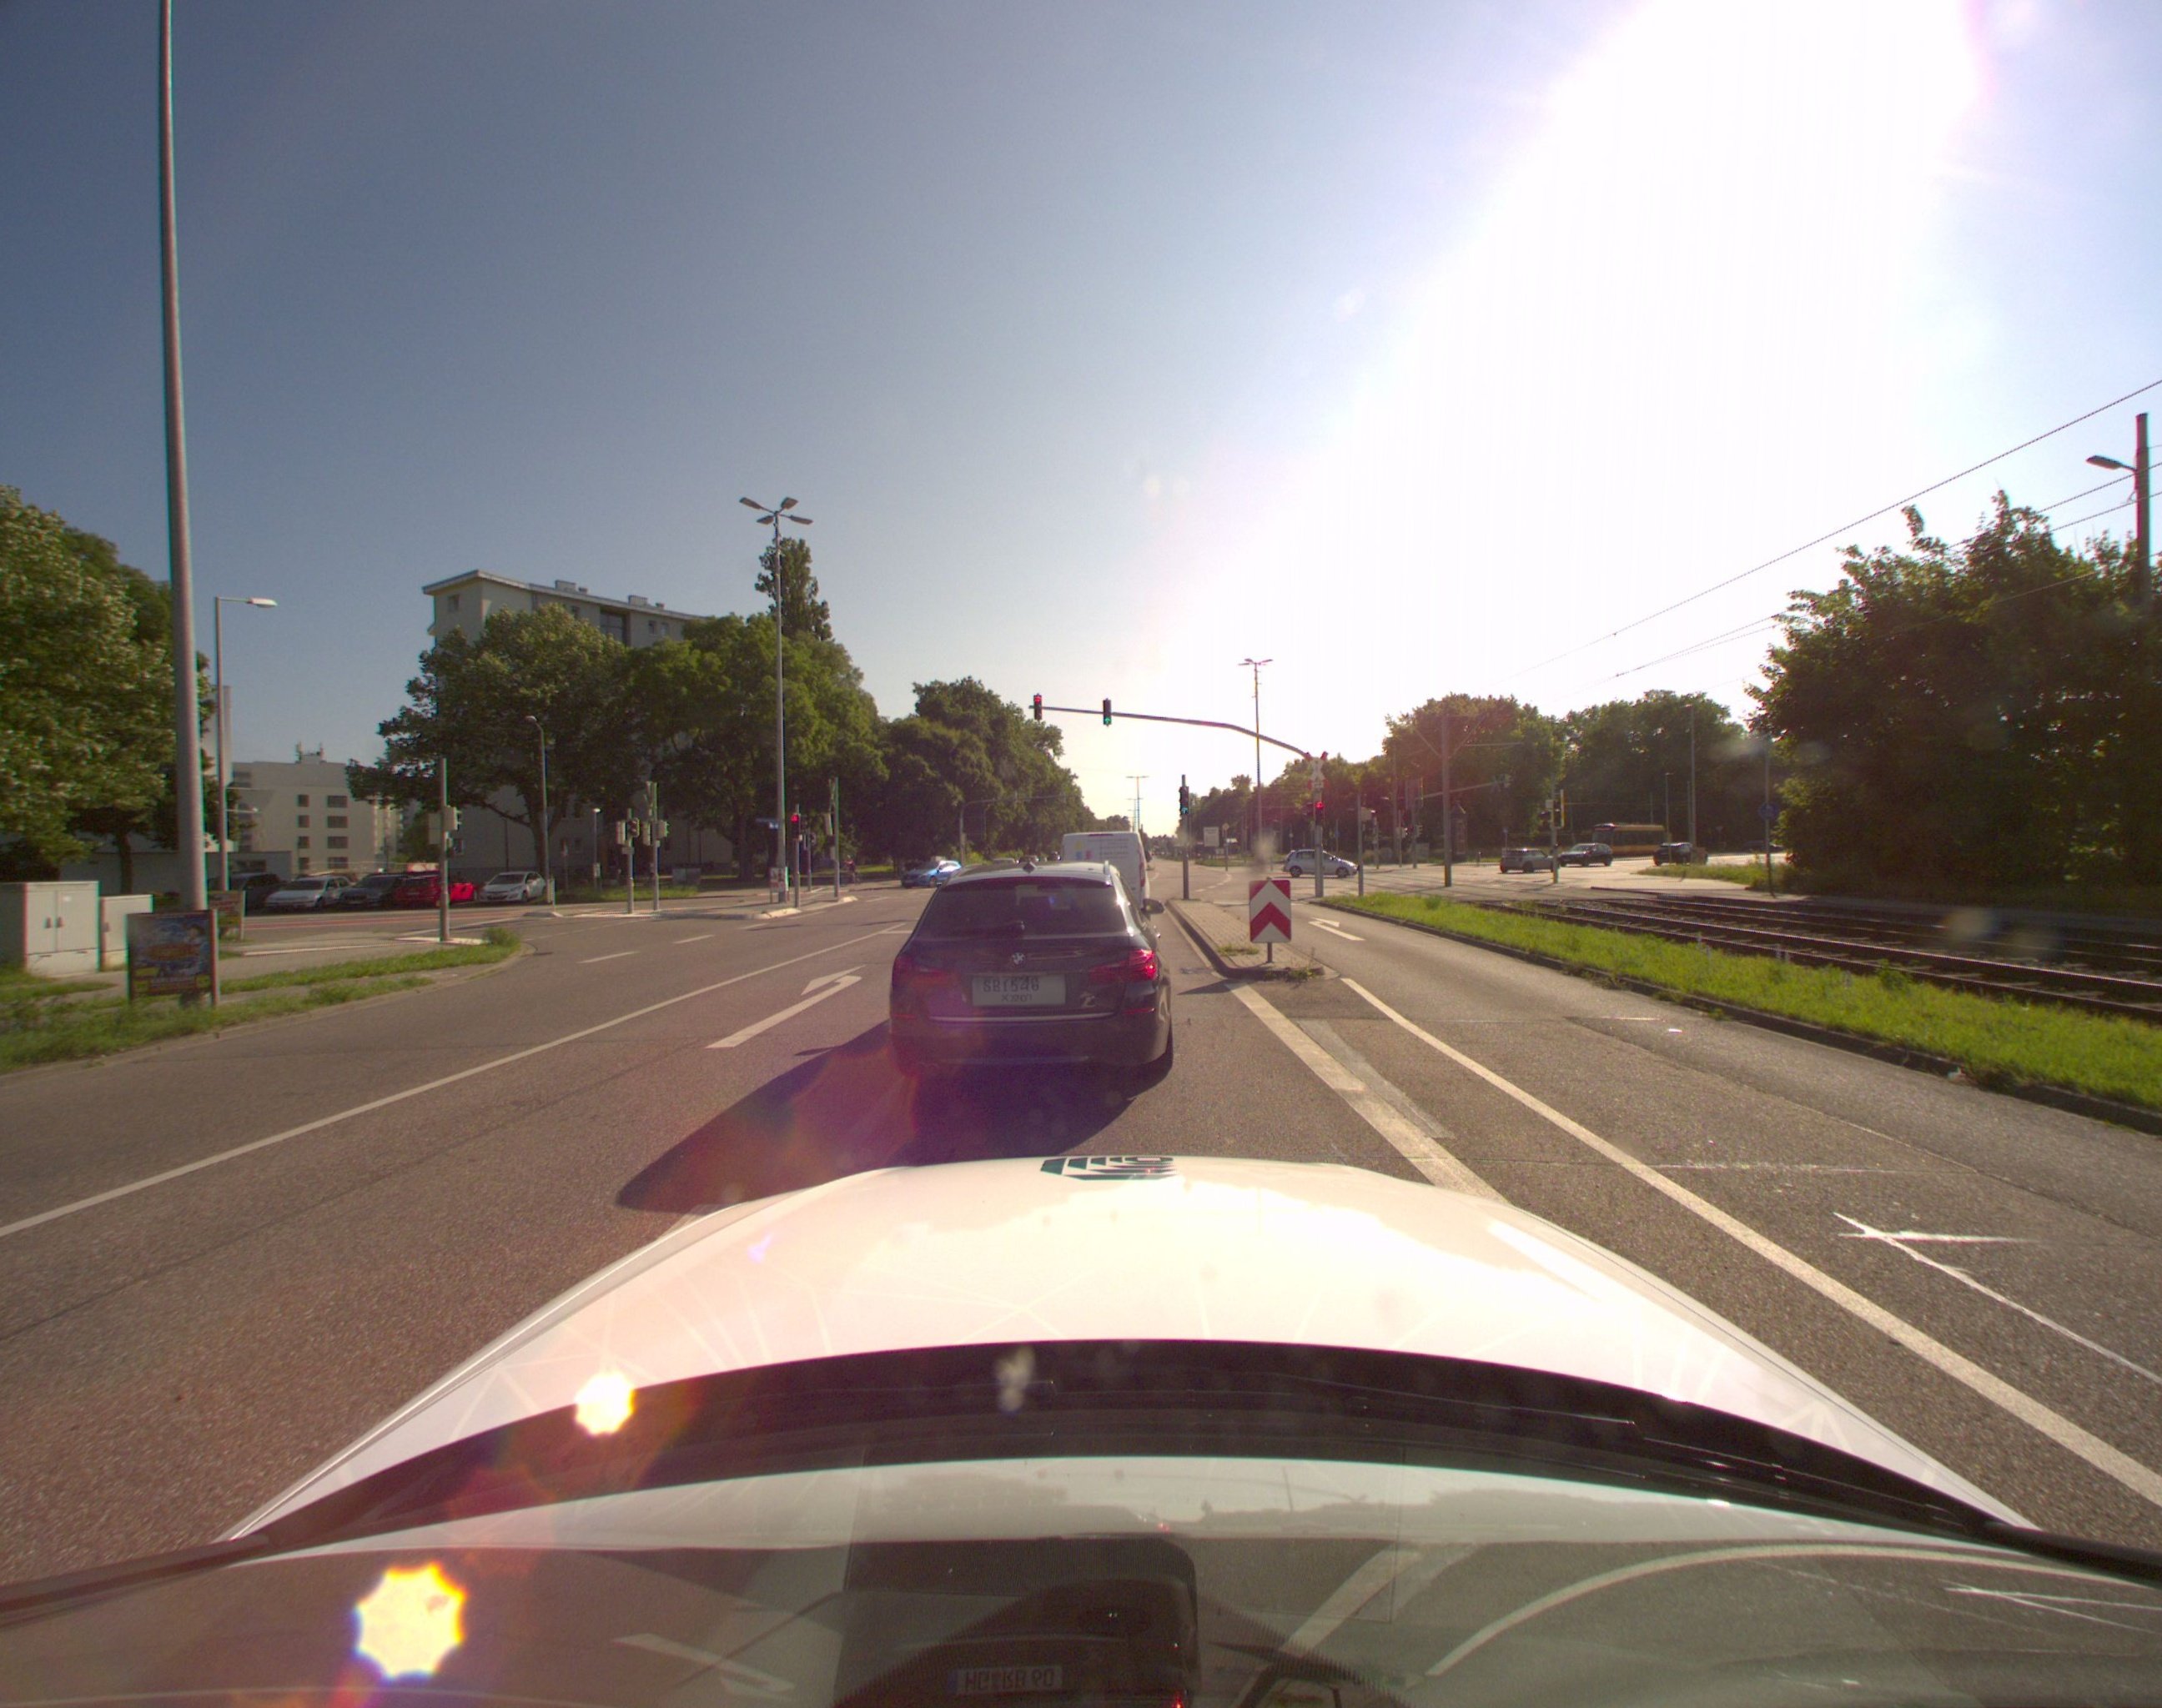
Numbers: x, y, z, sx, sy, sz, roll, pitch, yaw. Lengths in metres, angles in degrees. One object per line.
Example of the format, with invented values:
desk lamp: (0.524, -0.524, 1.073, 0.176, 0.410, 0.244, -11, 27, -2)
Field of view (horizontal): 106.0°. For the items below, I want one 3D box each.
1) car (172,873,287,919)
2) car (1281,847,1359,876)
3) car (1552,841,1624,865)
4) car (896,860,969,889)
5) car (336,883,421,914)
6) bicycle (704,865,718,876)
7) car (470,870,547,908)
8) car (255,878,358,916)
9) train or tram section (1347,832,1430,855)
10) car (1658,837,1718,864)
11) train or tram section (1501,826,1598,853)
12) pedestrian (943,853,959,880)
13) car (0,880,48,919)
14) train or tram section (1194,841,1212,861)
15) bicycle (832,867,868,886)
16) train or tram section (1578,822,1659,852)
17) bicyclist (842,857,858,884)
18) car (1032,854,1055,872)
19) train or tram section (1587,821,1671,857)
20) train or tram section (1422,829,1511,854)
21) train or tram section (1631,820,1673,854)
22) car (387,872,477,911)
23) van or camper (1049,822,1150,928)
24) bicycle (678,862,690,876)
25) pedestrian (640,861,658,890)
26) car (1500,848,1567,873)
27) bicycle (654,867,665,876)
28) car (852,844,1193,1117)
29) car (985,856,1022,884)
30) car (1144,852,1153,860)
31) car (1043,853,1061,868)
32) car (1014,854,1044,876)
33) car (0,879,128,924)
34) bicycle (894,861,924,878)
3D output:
car: (-38.058, 1.824, 36.539, 1.783, 1.811, 3.977, -1, 0, -16)
car: (13.769, 0.410, 46.968, 4.157, 1.562, 1.864, -1, 0, 17)
car: (35.960, -0.075, 57.755, 4.871, 1.562, 2.027, -1, 0, -26)
car: (-8.057, 1.108, 44.613, 1.763, 1.414, 4.269, -1, 0, 26)
car: (-32.772, 2.050, 38.106, 1.463, 1.193, 3.767, -1, 0, -15)
bicycle: (-31.021, 1.361, 68.248, 0.673, 0.919, 2.382, -1, 0, -33)
car: (-27.911, 1.678, 39.845, 1.783, 1.439, 3.980, -1, 3, -15)
car: (-35.413, 1.930, 37.373, 1.783, 1.521, 3.977, -1, 0, -16)
train or tram section: (50.410, -1.675, 133.847, 12.279, 3.579, 3.073, -1, 0, 33)
car: (42.668, -0.256, 57.187, 4.635, 1.722, 1.634, -2, 2, -29)
train or tram section: (67.353, -1.985, 117.562, 3.064, 3.579, 12.108, -1, 0, -31)
pedestrian: (-8.790, 0.826, 54.943, 0.811, 1.752, 0.933, -1, 0, 7)
car: (-46.078, 2.016, 33.688, 1.785, 1.476, 4.686, -1, 3, -19)
train or tram section: (22.848, -0.512, 152.883, 2.782, 3.618, 12.976, 0, 0, 6)
bicycle: (-13.500, 1.303, 47.675, 0.613, 1.040, 2.085, -1, 0, 36)
train or tram section: (69.674, -2.071, 106.055, 3.031, 3.579, 12.241, -1, 0, 3)
bicyclist: (-13.518, 0.955, 47.675, 0.601, 1.560, 0.607, -1, 0, 36)
car: (-3.445, 0.815, 75.608, 1.882, 1.474, 4.099, -2, 0, 0)
train or tram section: (57.933, -1.571, 85.889, 11.898, 3.579, 3.022, -1, 0, -34)
train or tram section: (60.019, -1.848, 126.951, 12.072, 3.579, 3.073, -1, 0, 38)
train or tram section: (66.115, -1.921, 94.576, 3.015, 3.579, 12.308, -1, 0, 31)
car: (-30.827, 1.725, 38.838, 1.782, 1.415, 3.982, -1, 4, -14)
van or camper: (0.512, 0.412, 18.716, 1.985, 2.096, 4.602, -1, 0, 3)
bicycle: (-32.678, 1.249, 66.949, 0.615, 1.066, 1.896, 0, -2, -34)
pedestrian: (-26.380, 1.297, 49.737, 0.619, 1.713, 0.707, -1, 1, 14)
car: (26.886, 0.365, 48.383, 3.533, 1.383, 1.594, -1, 0, -23)
bicycle: (-34.302, 1.429, 66.255, 0.587, 0.708, 2.215, -1, 0, -33)
car: (-0.262, 0.713, 6.633, 1.896, 1.506, 4.067, -1, 0, 2)
car: (-4.528, 0.929, 48.114, 1.697, 1.465, 4.369, -3, 0, 0)
car: (14.162, 0.424, 171.536, 1.785, 1.486, 3.905, -1, 0, 5)
car: (-3.257, 0.704, 91.144, 1.783, 1.520, 4.000, -2, 0, 0)
car: (-3.956, 0.796, 62.512, 1.738, 1.562, 4.003, -3, 0, 3)
car: (-44.364, 2.009, 35.241, 1.785, 1.477, 4.785, -1, 3, -19)
bicycle: (-11.631, 1.047, 55.097, 1.902, 1.119, 0.632, -1, 0, 1)
